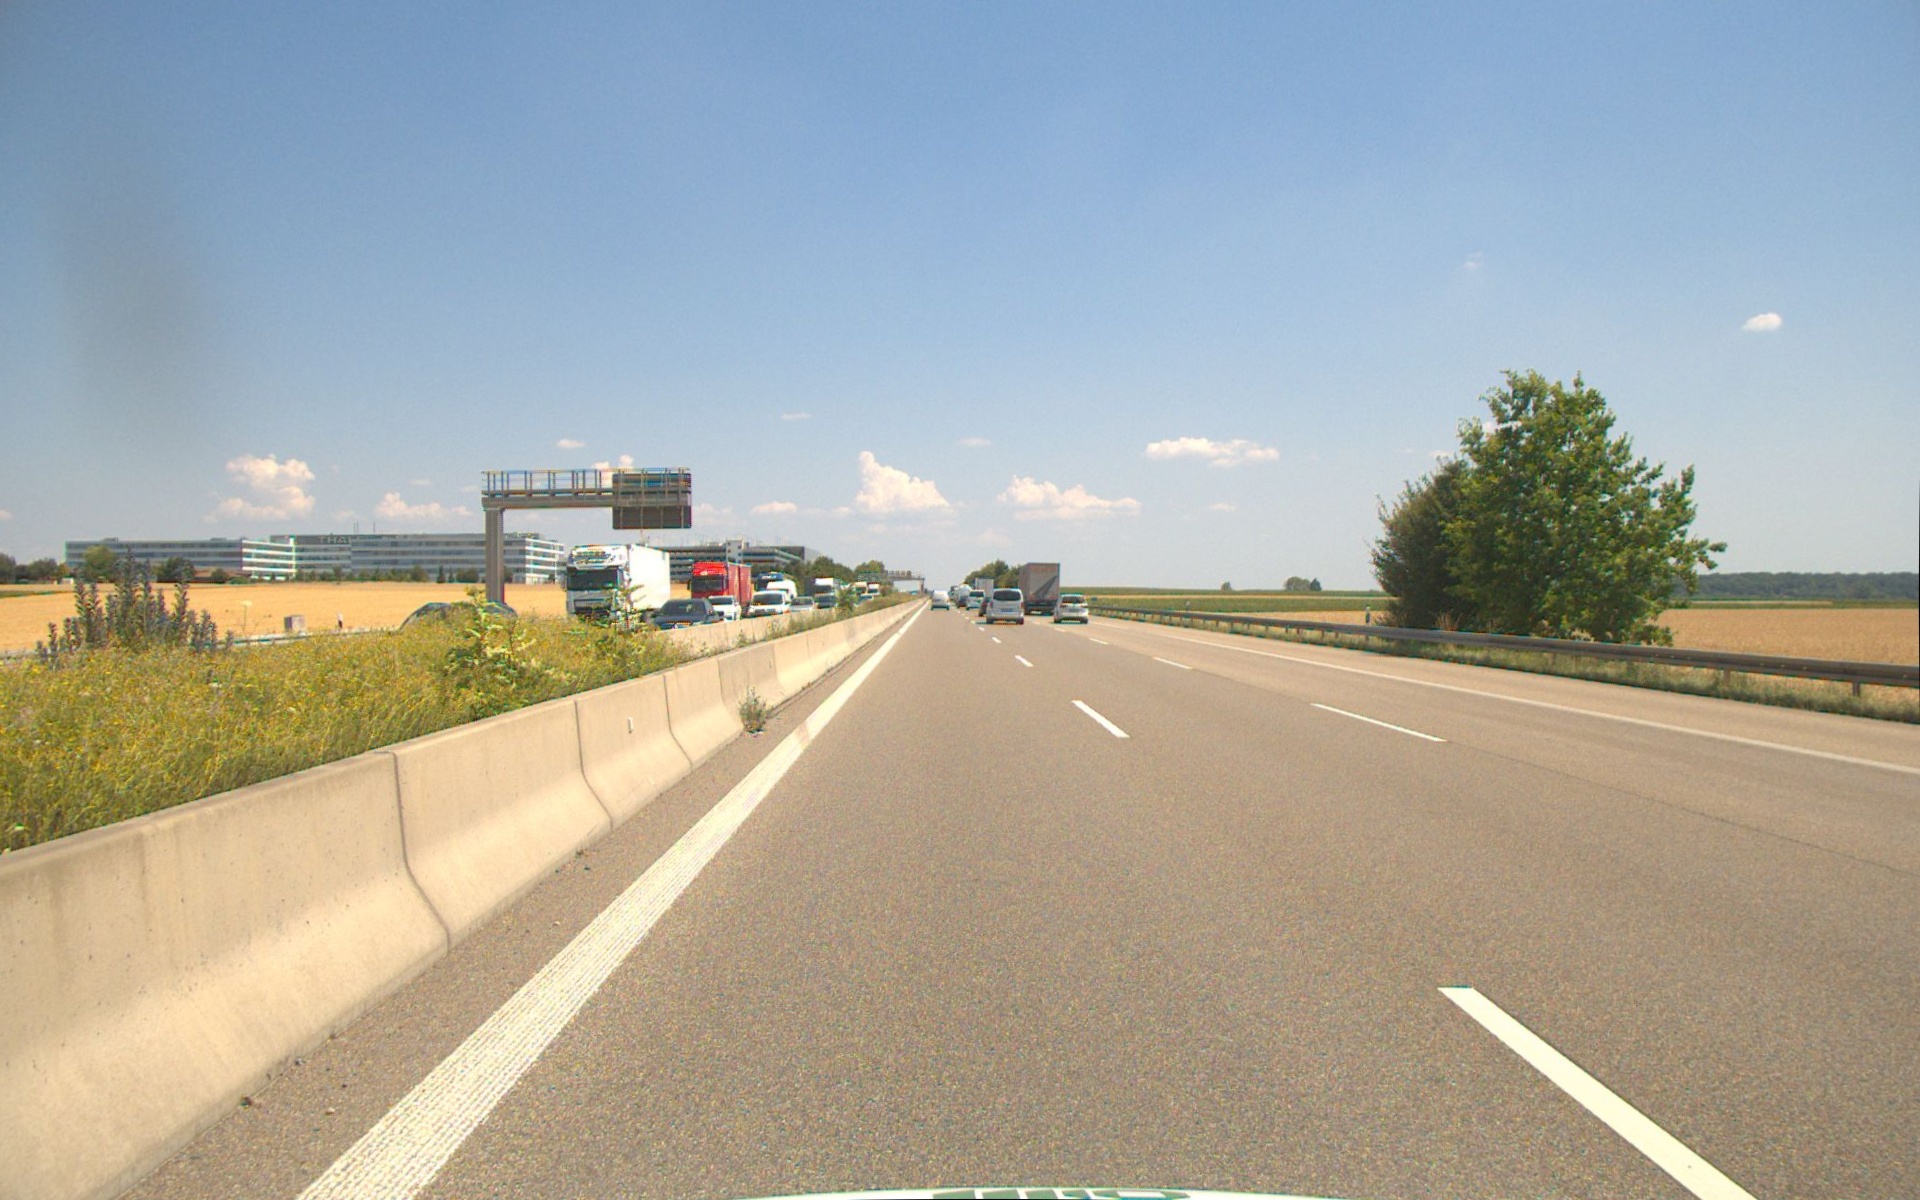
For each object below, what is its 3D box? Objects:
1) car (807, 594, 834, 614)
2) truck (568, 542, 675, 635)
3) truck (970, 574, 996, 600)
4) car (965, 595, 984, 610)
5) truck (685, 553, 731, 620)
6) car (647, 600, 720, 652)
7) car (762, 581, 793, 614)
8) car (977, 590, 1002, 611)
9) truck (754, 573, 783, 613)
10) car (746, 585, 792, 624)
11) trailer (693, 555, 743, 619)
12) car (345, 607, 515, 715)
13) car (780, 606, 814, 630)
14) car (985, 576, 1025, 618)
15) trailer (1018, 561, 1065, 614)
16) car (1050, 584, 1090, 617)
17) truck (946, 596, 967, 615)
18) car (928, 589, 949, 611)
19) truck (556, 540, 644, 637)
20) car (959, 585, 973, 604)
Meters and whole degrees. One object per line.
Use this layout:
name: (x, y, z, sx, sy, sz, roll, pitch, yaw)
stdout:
car: (-9.734, 0.281, 115.648, 1.683, 1.374, 3.772, 0, 0, -2)
truck: (-16.771, -0.562, 83.001, 2.890, 4.230, 12.863, -2, 0, -1)
truck: (3.513, -1.953, 257.725, 3.738, 3.973, 9.578, -1, 0, -1)
car: (1.412, 0.230, 164.521, 1.737, 1.473, 3.999, 0, -1, -1)
truck: (-17.988, -0.935, 118.249, 2.720, 4.678, 4.722, 0, 0, -2)
car: (-8.468, 0.758, 50.935, 1.639, 1.513, 4.396, 0, 0, -2)
car: (-13.547, -0.219, 122.969, 1.822, 2.377, 5.705, 0, 0, -2)
car: (2.112, 0.050, 119.157, 1.737, 1.473, 3.999, 0, -1, -1)
truck: (-18.150, -0.652, 157.006, 2.067, 3.663, 7.118, 0, 0, -2)
car: (-9.124, 0.202, 79.216, 1.779, 1.784, 4.991, 0, 0, -2)
trailer: (-18.187, -0.967, 124.846, 2.720, 4.678, 8.599, 0, 0, -2)
car: (-8.115, 0.877, 25.616, 1.508, 1.513, 3.772, 0, 0, -2)
car: (-9.613, 1.036, 97.736, 1.779, 1.374, 3.772, 0, 0, -2)
car: (2.373, -0.143, 88.327, 1.953, 2.157, 3.999, 0, -1, -1)
trailer: (6.591, -0.945, 134.642, 3.211, 4.037, 9.110, 0, -1, -1)
car: (6.314, 0.029, 95.095, 1.953, 1.825, 3.999, 0, -1, -1)
truck: (-0.387, 0.615, 185.032, 2.167, 2.049, 4.970, 0, 0, -2)
car: (-2.079, 0.035, 160.034, 1.953, 2.049, 3.999, 0, -1, -1)
truck: (-16.633, -0.533, 76.713, 2.890, 4.230, 5.470, -2, 0, -1)
car: (0.828, -0.742, 218.269, 1.737, 2.434, 3.999, 0, -1, -1)
